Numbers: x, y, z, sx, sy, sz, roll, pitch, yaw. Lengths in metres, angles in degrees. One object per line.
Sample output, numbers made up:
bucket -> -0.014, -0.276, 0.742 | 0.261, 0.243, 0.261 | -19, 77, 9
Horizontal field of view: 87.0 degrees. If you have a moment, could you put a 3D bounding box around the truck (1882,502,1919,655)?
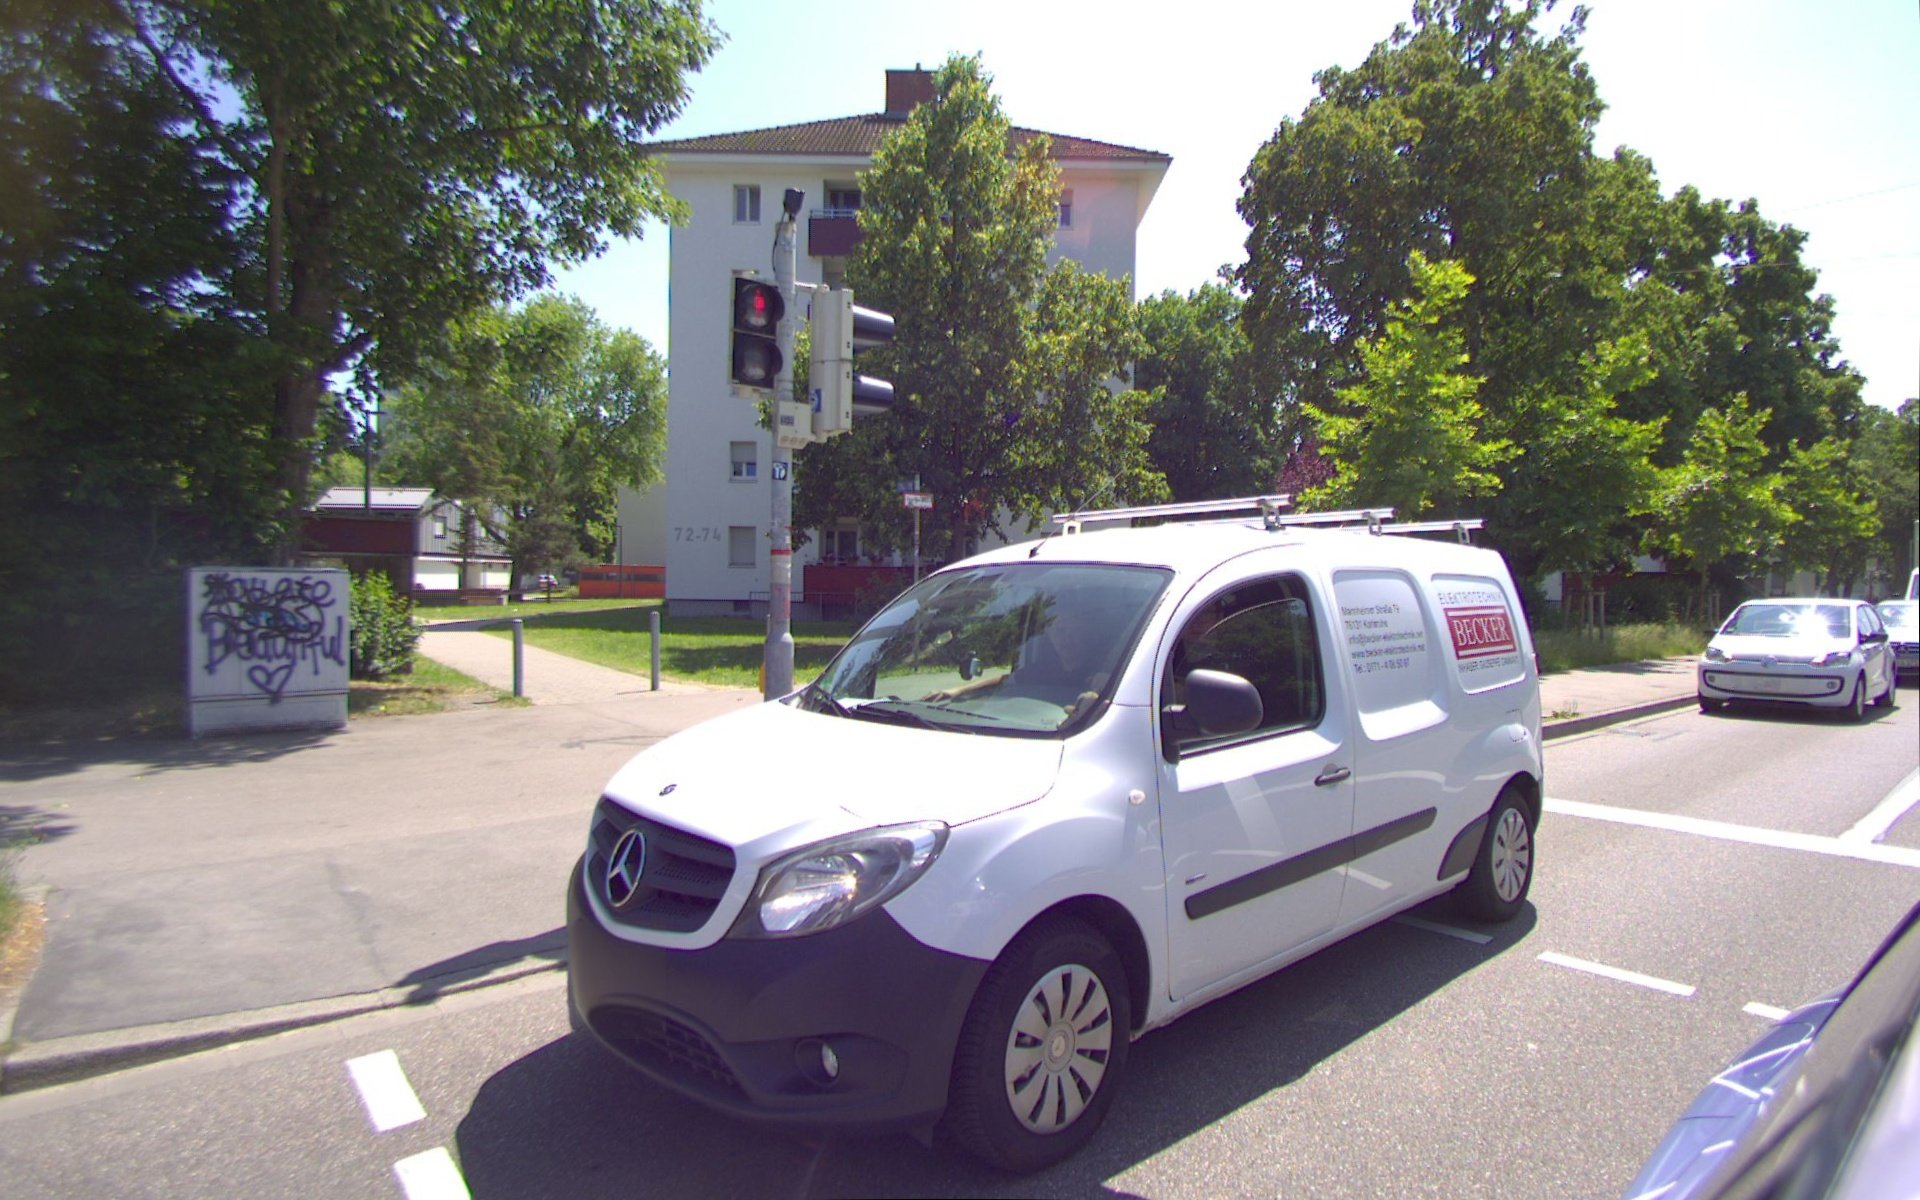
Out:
truck -> 23.790, -0.477, 23.549 | 6.485, 3.337, 2.490 | 0, 1, -39

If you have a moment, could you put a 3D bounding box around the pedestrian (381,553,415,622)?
pedestrian -> -16.162, -0.368, 29.080 | 0.741, 1.942, 0.888 | 0, 0, -37

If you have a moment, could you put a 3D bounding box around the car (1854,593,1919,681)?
car -> 16.912, 0.581, 17.462 | 4.041, 1.398, 1.617 | -1, 0, -40

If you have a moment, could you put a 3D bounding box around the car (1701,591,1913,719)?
car -> 11.243, 0.621, 13.372 | 3.437, 1.459, 1.625 | -1, 0, -41

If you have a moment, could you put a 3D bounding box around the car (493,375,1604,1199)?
car -> 0.910, 0.481, 4.324 | 4.994, 1.879, 1.807 | 0, 0, -42
